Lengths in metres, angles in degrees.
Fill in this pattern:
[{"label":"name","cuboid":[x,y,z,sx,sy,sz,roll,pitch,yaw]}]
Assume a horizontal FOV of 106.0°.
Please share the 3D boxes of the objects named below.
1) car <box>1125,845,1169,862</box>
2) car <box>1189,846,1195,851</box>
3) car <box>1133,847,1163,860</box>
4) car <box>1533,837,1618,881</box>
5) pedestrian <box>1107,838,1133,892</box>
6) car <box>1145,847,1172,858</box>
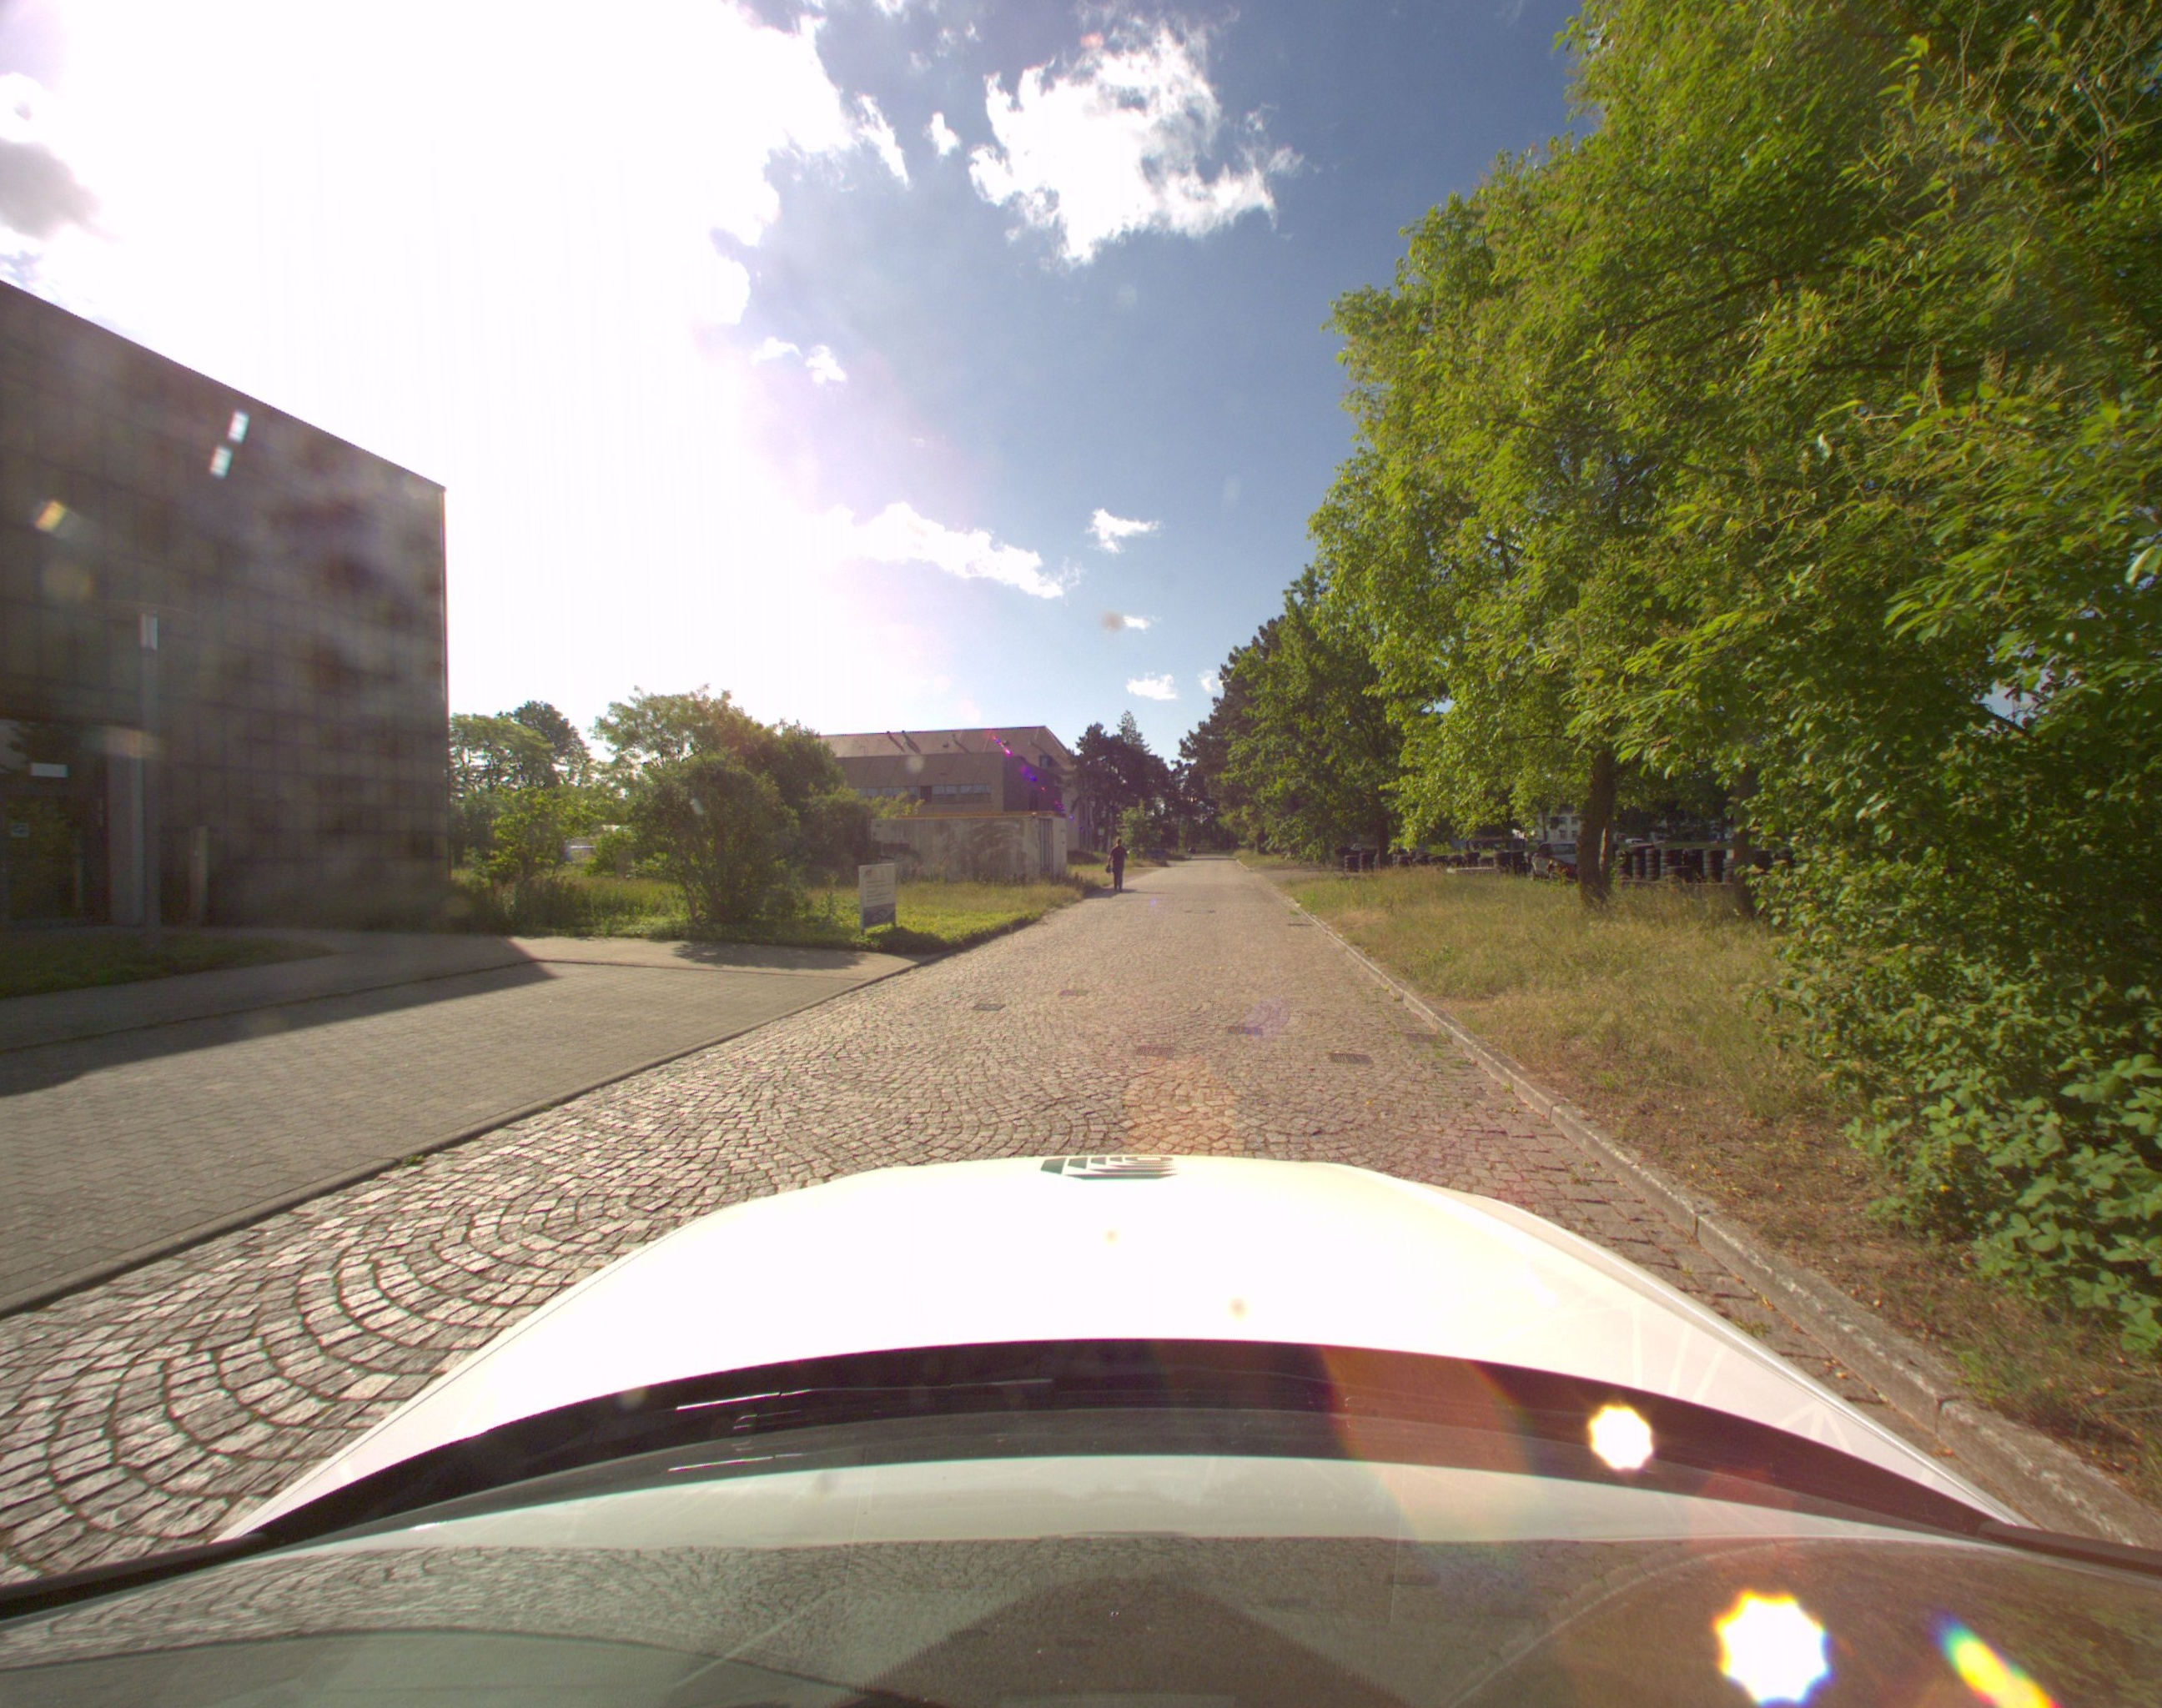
[{"label":"car","cuboid":[5.812,-0.052,71.753,3.813,1.441,1.586,-1,0,7]},{"label":"car","cuboid":[26.397,-1.286,192.920,1.362,1.099,2.869,-1,0,7]},{"label":"car","cuboid":[6.485,-0.059,78.937,2.892,1.259,1.288,-1,0,0]},{"label":"car","cuboid":[16.679,0.151,27.641,1.529,1.407,3.592,-1,0,15]},{"label":"pedestrian","cuboid":[1.339,0.362,27.941,0.790,1.780,1.071,1,0,8]},{"label":"car","cuboid":[8.393,-0.161,88.248,2.844,1.206,1.374,-1,0,0]}]
